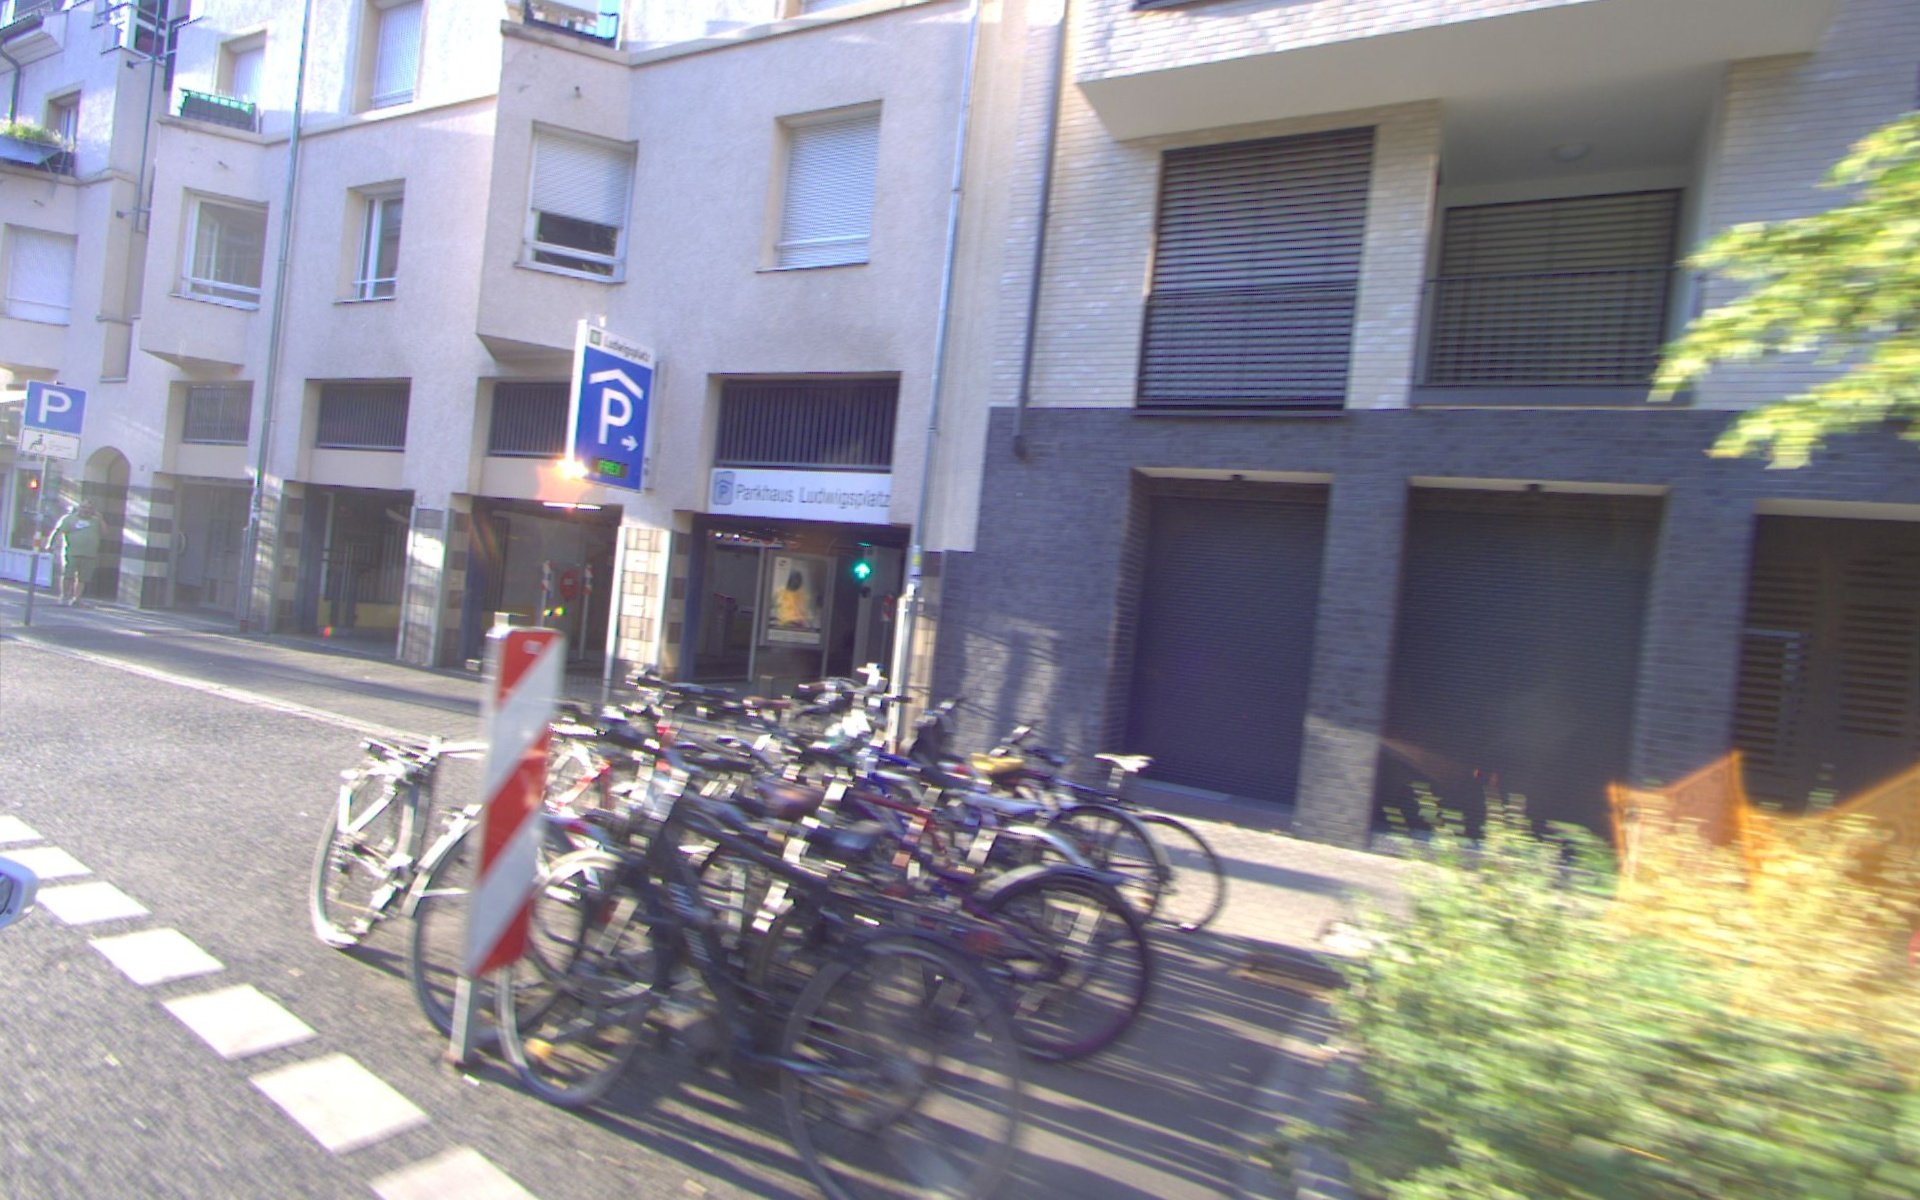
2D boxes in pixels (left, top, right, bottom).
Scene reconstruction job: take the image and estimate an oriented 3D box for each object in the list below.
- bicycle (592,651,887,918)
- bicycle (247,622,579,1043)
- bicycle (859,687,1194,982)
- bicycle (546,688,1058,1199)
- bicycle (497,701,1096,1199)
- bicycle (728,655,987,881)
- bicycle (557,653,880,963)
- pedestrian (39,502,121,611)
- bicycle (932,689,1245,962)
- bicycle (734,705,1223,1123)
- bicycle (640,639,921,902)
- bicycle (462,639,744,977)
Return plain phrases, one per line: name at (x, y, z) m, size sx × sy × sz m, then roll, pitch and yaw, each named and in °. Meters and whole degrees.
bicycle at (-1.186, 0.911, 5.307) m, size 1.496 × 1.113 × 0.383 m, roll 6°, pitch 0°, yaw 25°
bicycle at (-2.047, 0.733, 3.668) m, size 1.541 × 1.155 × 0.362 m, roll 6°, pitch 0°, yaw 37°
bicycle at (0.310, 1.087, 4.945) m, size 1.495 × 1.114 × 0.383 m, roll 6°, pitch 1°, yaw 22°
bicycle at (-0.525, 0.930, 3.086) m, size 1.496 × 1.114 × 0.382 m, roll 6°, pitch 1°, yaw 26°
bicycle at (-0.475, 0.930, 2.632) m, size 1.496 × 1.114 × 0.382 m, roll 6°, pitch 1°, yaw 26°
bicycle at (-0.646, 0.974, 6.146) m, size 1.496 × 1.114 × 0.382 m, roll 6°, pitch 0°, yaw 25°
bicycle at (-1.172, 0.899, 4.736) m, size 1.538 × 1.114 × 0.382 m, roll 6°, pitch 1°, yaw 30°
pedestrian at (-14.233, -0.699, 16.269) m, size 0.596 × 1.668 × 0.810 m, roll 6°, pitch 1°, yaw 35°
bicycle at (0.661, 1.134, 5.350) m, size 1.496 × 1.114 × 0.382 m, roll 6°, pitch 1°, yaw 25°
bicycle at (0.060, 1.025, 3.466) m, size 1.494 × 1.114 × 0.383 m, roll 6°, pitch 1°, yaw 7°
bicycle at (-1.035, 0.911, 5.698) m, size 1.496 × 1.203 × 0.383 m, roll 6°, pitch -1°, yaw 25°
bicycle at (-1.616, 0.819, 4.414) m, size 1.501 × 1.122 × 0.370 m, roll 6°, pitch 0°, yaw 40°
